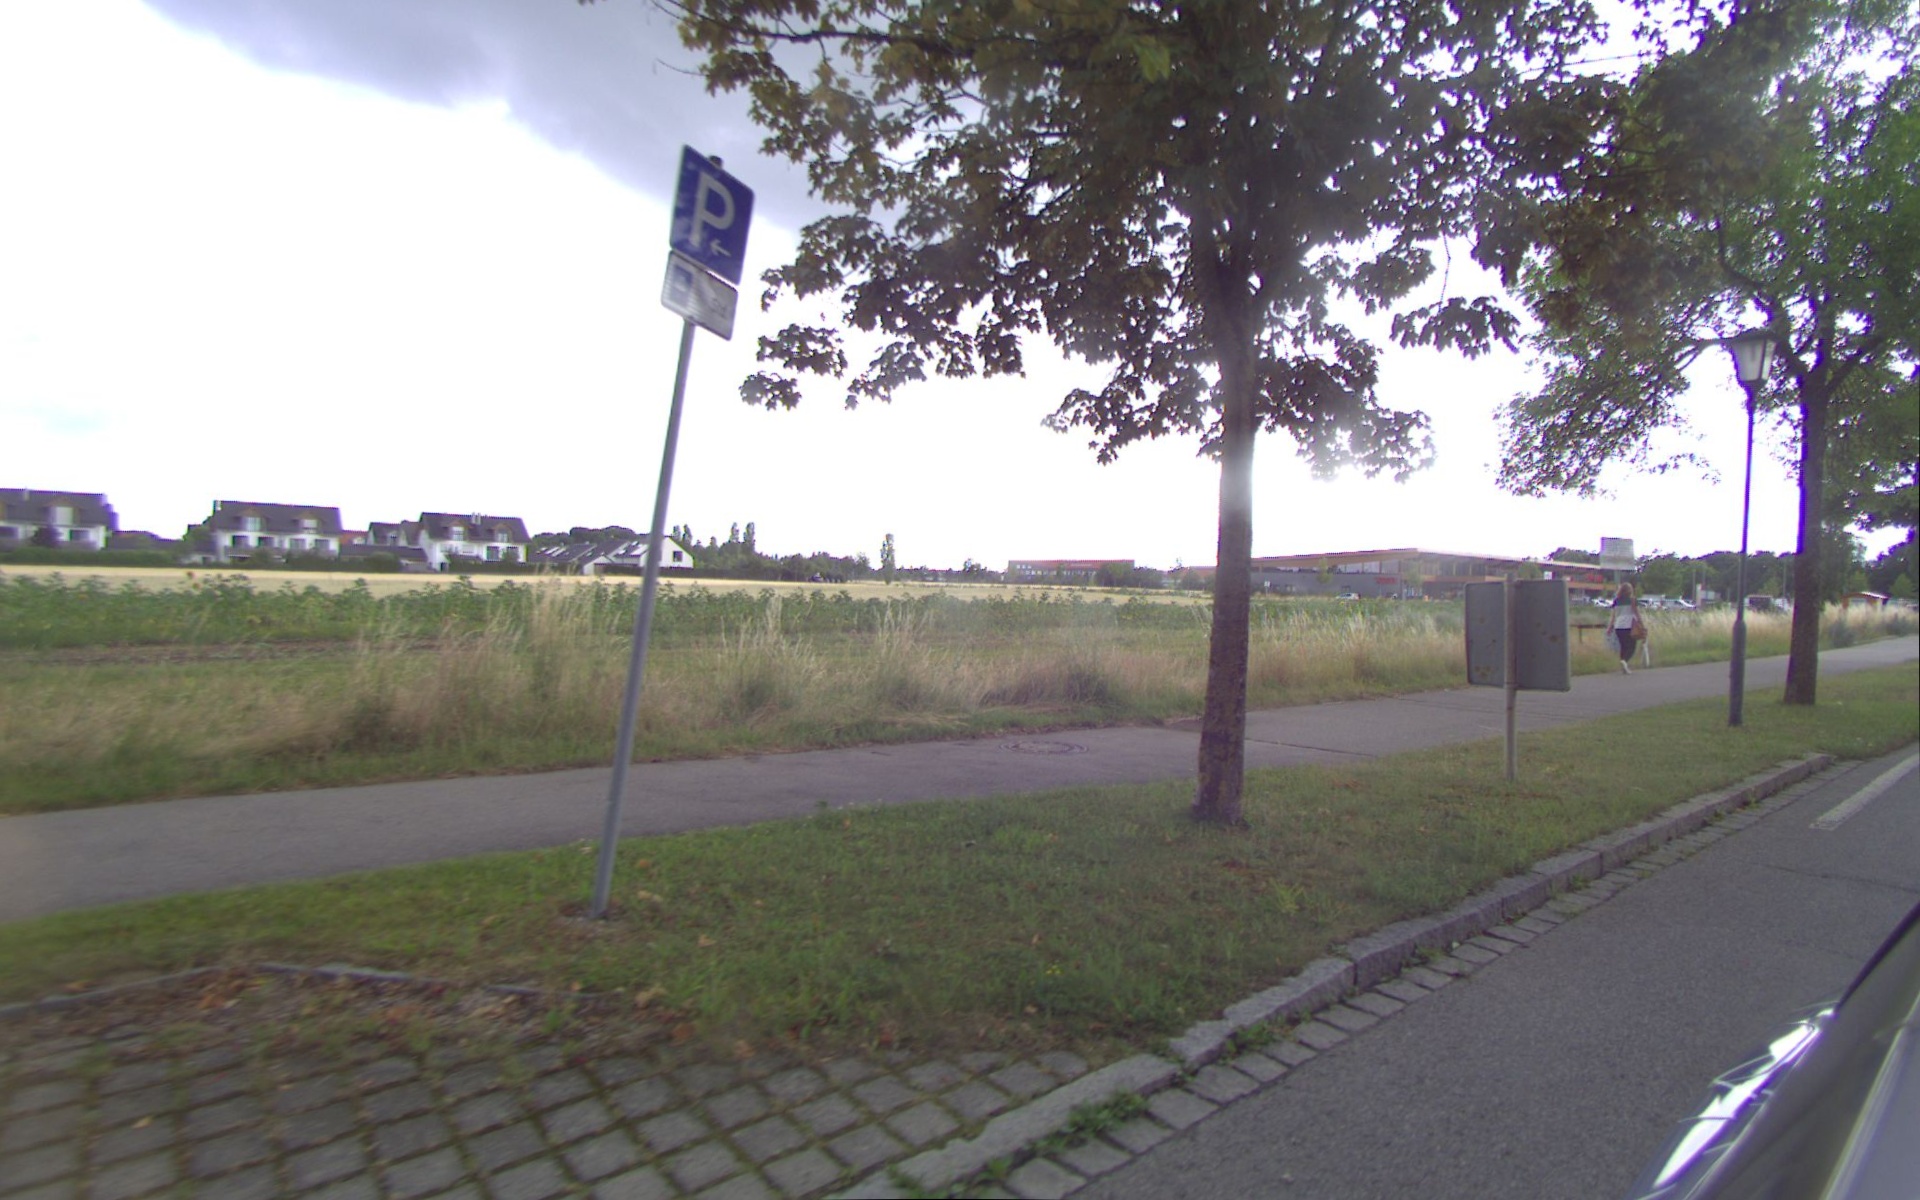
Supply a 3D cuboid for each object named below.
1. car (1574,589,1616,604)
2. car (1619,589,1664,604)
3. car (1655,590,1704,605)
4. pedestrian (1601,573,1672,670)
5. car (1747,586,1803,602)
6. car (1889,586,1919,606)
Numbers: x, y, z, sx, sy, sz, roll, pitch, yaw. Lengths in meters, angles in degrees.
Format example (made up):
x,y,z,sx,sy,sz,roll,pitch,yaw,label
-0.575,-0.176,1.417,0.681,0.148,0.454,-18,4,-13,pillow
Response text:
x,y,z,sx,sy,sz,roll,pitch,yaw,label
90.157,-0.482,143.724,4.843,2.039,1.968,0,0,44,car
91.750,-0.467,136.269,4.843,2.039,1.968,0,0,44,car
103.350,-0.337,145.418,1.967,2.039,5.513,0,0,-44,car
12.814,0.388,19.178,0.853,1.777,0.840,0,0,-34,pedestrian
107.190,-0.777,133.163,1.967,2.039,5.513,0,0,-44,car
99.670,-0.411,104.445,1.967,2.039,5.513,0,0,-44,car
